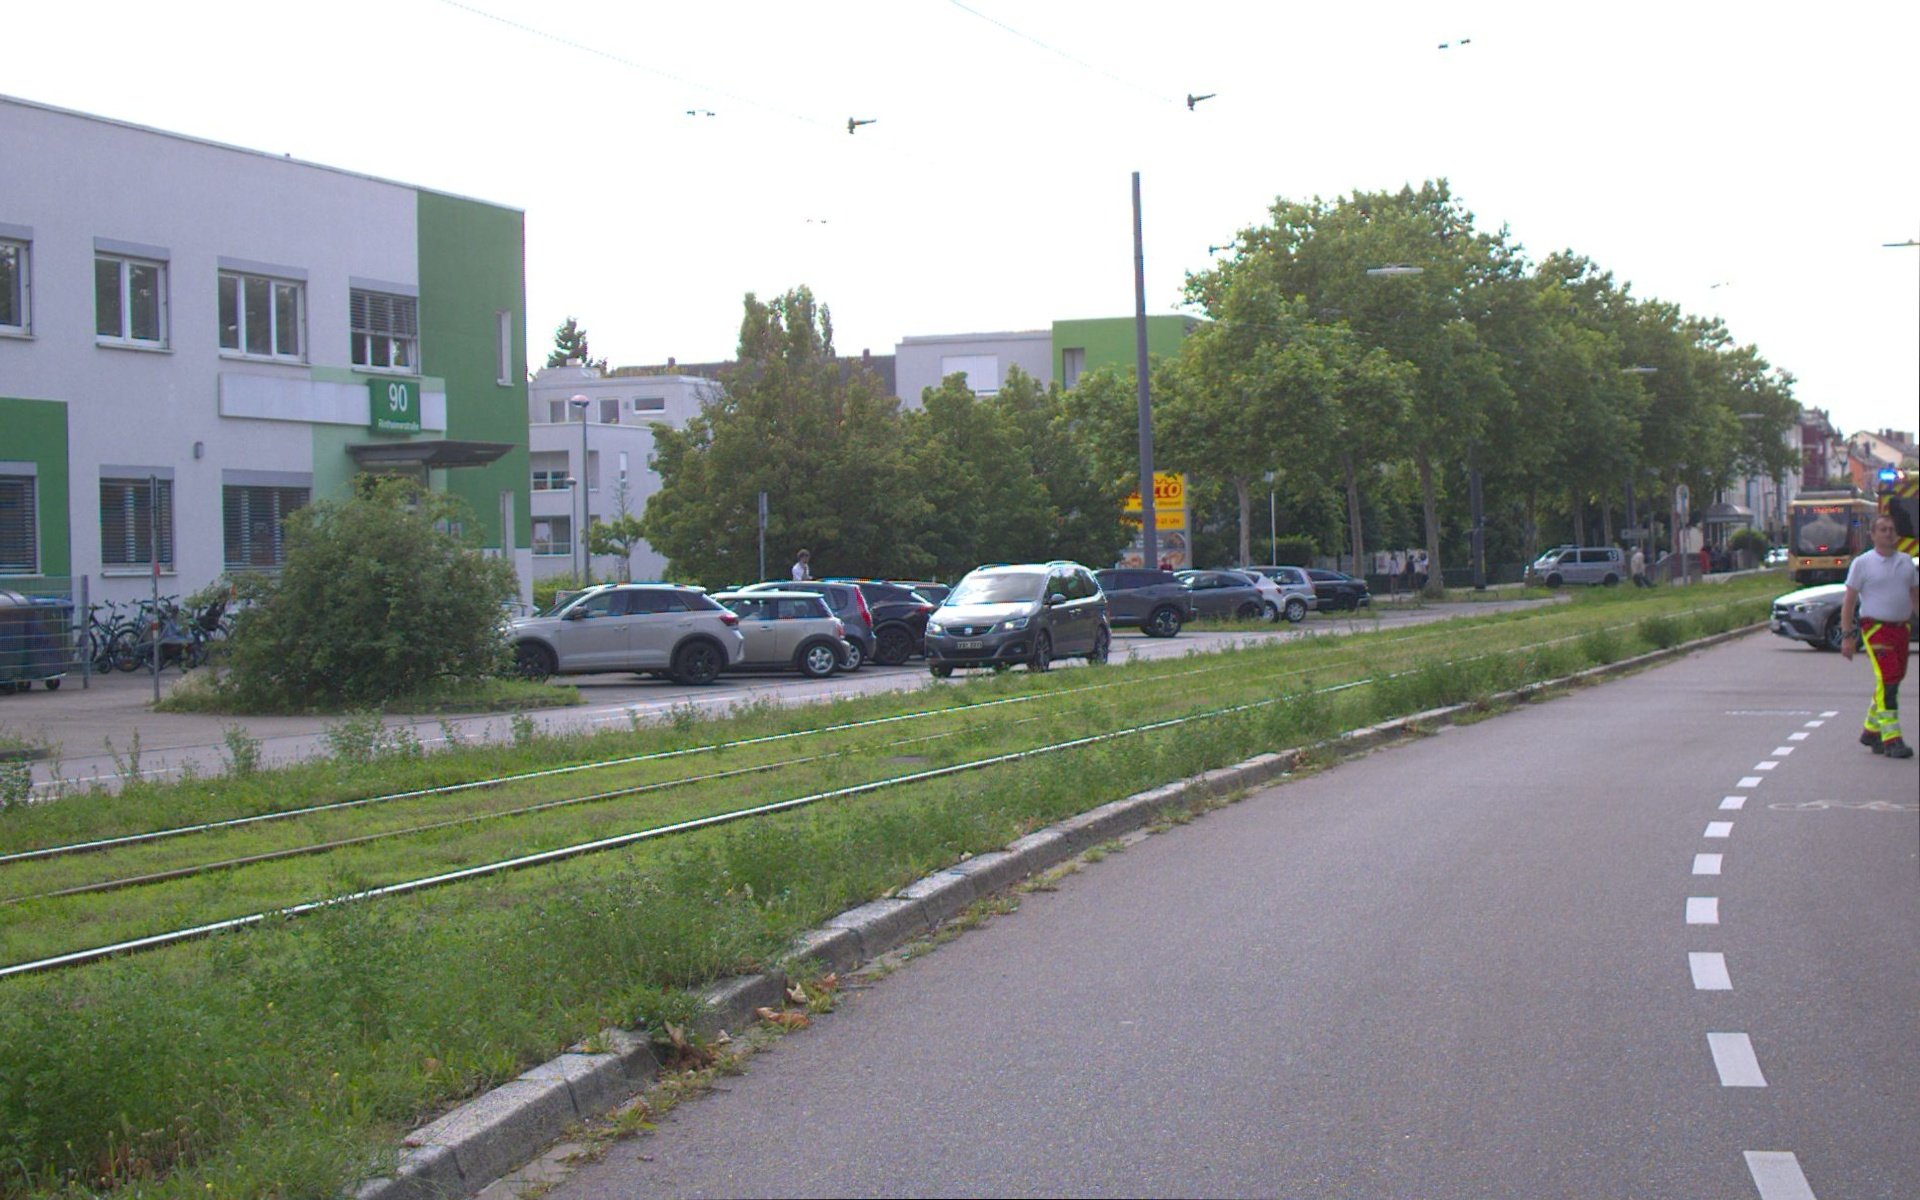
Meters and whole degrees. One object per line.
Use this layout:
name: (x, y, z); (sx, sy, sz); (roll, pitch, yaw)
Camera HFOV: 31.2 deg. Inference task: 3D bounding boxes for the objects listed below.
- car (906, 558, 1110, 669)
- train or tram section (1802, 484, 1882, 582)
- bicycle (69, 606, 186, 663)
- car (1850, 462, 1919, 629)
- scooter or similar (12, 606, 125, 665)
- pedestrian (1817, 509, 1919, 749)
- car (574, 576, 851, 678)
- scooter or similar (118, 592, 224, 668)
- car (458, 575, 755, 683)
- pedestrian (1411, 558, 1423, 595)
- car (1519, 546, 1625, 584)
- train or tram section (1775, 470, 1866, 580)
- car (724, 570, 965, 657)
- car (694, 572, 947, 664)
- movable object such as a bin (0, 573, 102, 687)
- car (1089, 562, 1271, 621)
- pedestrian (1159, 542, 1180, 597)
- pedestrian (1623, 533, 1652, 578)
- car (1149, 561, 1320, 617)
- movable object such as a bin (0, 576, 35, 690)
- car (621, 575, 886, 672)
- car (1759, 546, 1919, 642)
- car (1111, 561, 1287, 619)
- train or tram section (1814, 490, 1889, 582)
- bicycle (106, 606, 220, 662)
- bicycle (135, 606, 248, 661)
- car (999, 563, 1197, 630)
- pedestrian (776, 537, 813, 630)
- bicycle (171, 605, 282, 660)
car: (0.797, 0.183, 53.410); (1.995, 1.552, 4.366); (-2, 0, 17)
train or tram section: (34.384, -2.559, 133.849); (2.514, 3.572, 7.439); (-3, -1, 17)
bicycle: (-13.459, 0.557, 55.567); (1.859, 0.896, 0.458); (1, 0, 18)
car: (18.268, -0.992, 64.108); (2.644, 2.956, 6.293); (2, 1, 19)
scooter or similar: (-14.043, 0.556, 54.153); (1.737, 0.896, 0.458); (1, 0, 18)
pedestrian: (6.562, 0.202, 24.563); (0.804, 1.680, 0.850); (0, 0, 17)
car: (-4.023, 0.415, 55.542); (4.220, 1.477, 1.884); (-2, 1, -11)
scooter or similar: (-12.349, 0.460, 53.798); (1.091, 1.152, 1.306); (0, 0, -43)
car: (-5.435, 0.432, 52.680); (4.220, 1.477, 1.884); (-2, 1, -16)
pedestrian: (18.412, -0.956, 138.500); (0.421, 1.468, 0.467); (-1, 0, 13)
car: (28.962, -1.657, 162.689); (4.611, 1.627, 1.884); (-2, 0, -21)
train or tram section: (29.994, -2.540, 119.646); (2.514, 3.572, 7.439); (-3, -1, 17)
car: (-2.173, 0.239, 64.275); (4.220, 1.477, 1.884); (-2, 1, -11)
car: (-2.503, 0.309, 61.153); (4.220, 1.477, 1.884); (-2, 1, -11)
movable object such as a bin: (-12.913, 0.406, 48.165); (1.007, 1.514, 1.603); (1, 2, 20)
car: (5.595, -0.230, 87.571); (4.220, 1.477, 1.884); (0, 0, -18)
pedestrian: (6.363, -0.931, 104.327); (0.466, 1.671, 0.603); (-1, 0, 16)
pedestrian: (23.136, -1.509, 117.397); (0.881, 1.520, 0.750); (1, 0, 17)
car: (7.438, -0.314, 93.272); (4.220, 1.477, 1.884); (0, 0, -18)
movable object such as a bin: (-13.468, 0.449, 46.564); (1.007, 1.514, 1.710); (1, 2, 20)
car: (-3.524, 0.383, 58.350); (4.220, 1.477, 1.884); (-2, 1, -11)
car: (14.341, -0.090, 51.289); (4.453, 1.381, 1.766); (1, 1, 3)
car: (6.291, -0.268, 90.473); (4.220, 1.477, 1.884); (0, 0, -18)
train or tram section: (36.574, -2.568, 140.897); (2.514, 3.572, 7.439); (-3, -1, 17)
bicycle: (-13.137, 0.555, 56.665); (1.859, 0.896, 0.458); (1, 0, 18)
bicycle: (-12.855, 0.554, 57.520); (1.859, 0.896, 0.458); (1, 0, 18)
car: (3.096, -0.089, 77.805); (4.220, 1.477, 1.884); (0, 0, -7)
pedestrian: (-3.247, -0.329, 67.639); (0.546, 1.822, 0.508); (-1, 0, 16)
bicycle: (-12.489, 0.549, 58.511); (1.859, 0.896, 0.458); (1, 0, 18)
